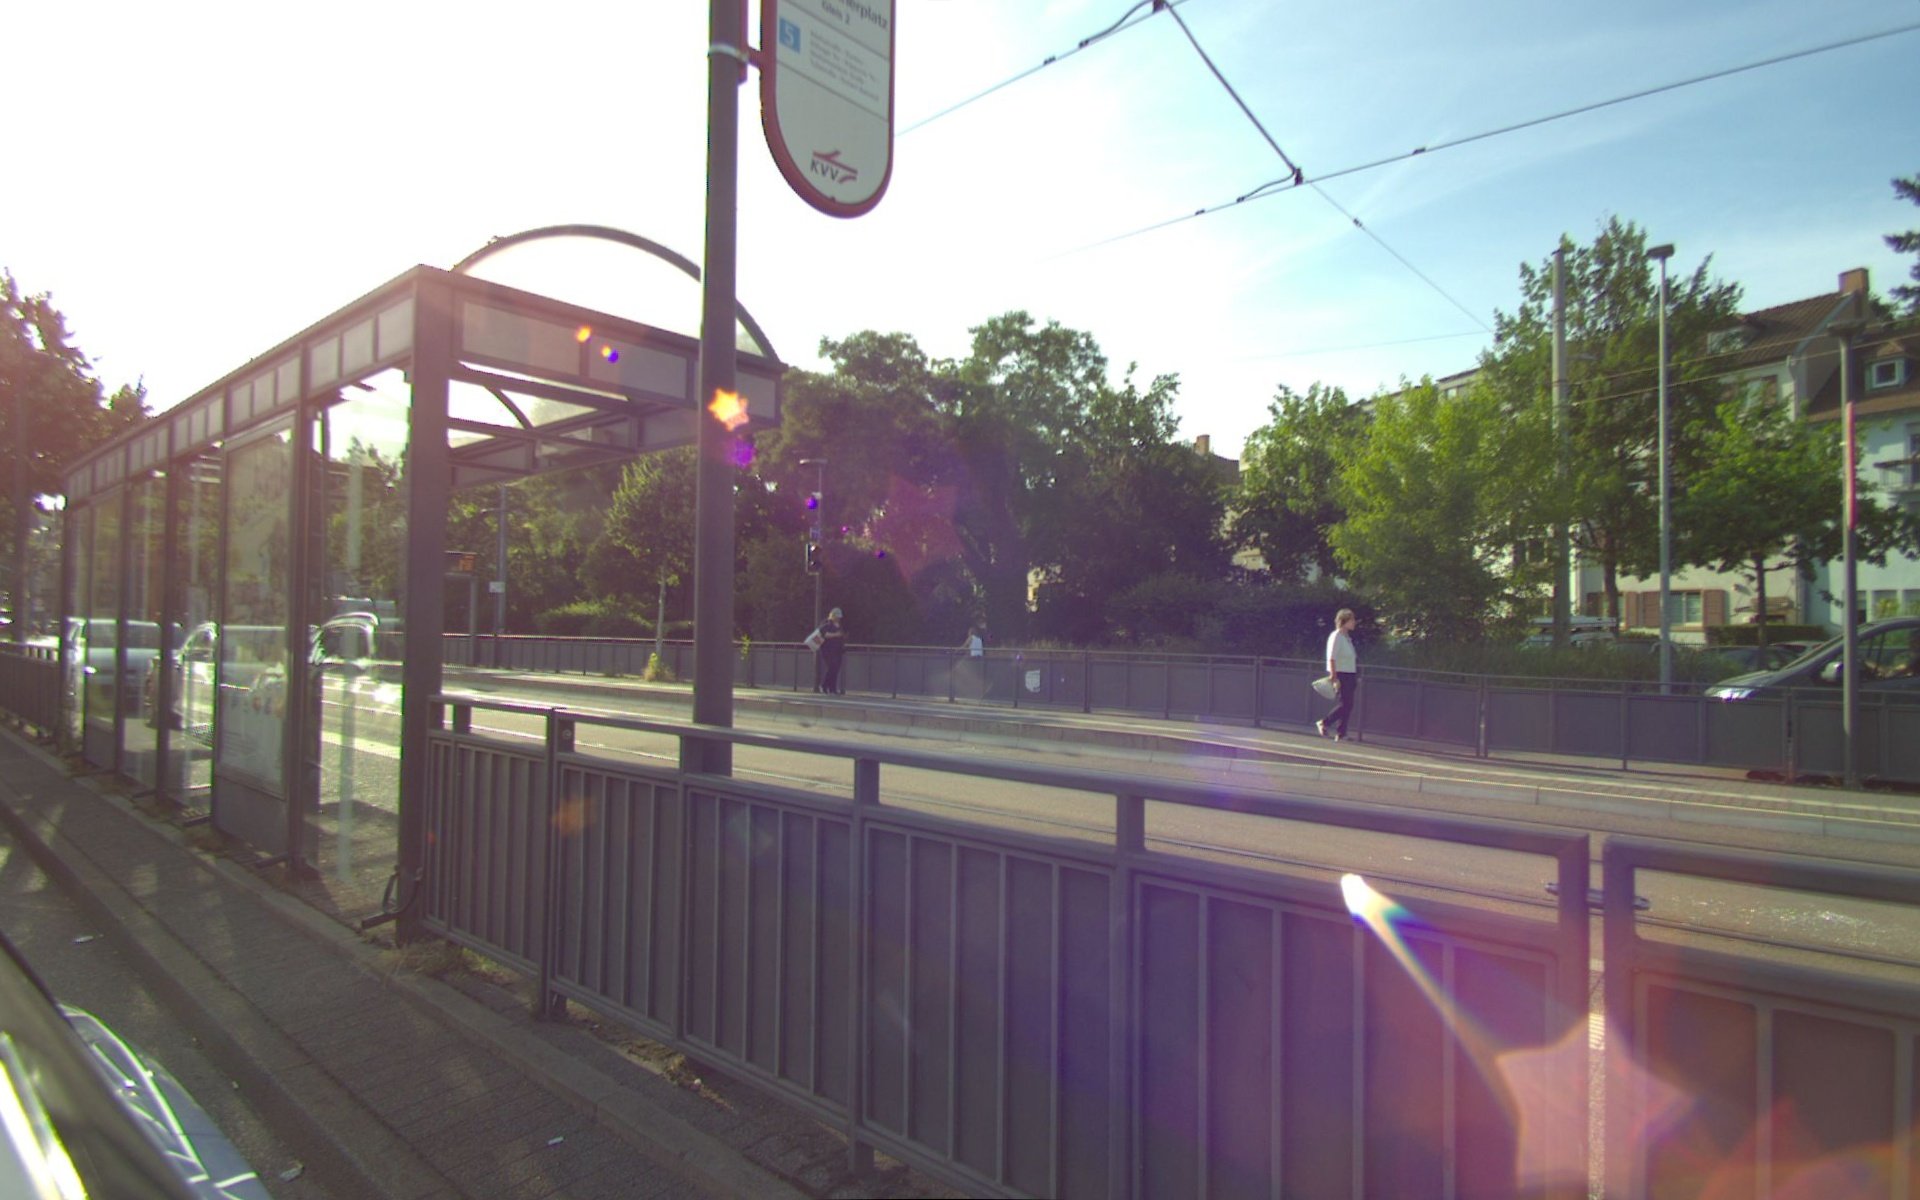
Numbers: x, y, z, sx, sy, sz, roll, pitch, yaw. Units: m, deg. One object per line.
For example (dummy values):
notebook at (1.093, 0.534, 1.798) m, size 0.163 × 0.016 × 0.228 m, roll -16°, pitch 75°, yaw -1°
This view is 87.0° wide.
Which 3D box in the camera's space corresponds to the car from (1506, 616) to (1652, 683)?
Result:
car at (17.561, 1.397, 28.694) m, size 3.931 × 1.767 × 1.860 m, roll 2°, pitch -2°, yaw -30°

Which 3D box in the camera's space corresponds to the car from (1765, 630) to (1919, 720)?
car at (19.307, 1.546, 21.721) m, size 3.931 × 1.767 × 1.860 m, roll 2°, pitch -2°, yaw -30°

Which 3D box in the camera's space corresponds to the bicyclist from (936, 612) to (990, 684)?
bicyclist at (0.073, 1.123, 24.040) m, size 1.072 × 1.636 × 0.697 m, roll -2°, pitch 0°, yaw 43°

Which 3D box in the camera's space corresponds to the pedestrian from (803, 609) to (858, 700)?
pedestrian at (-2.395, 0.998, 18.763) m, size 0.689 × 1.640 × 0.727 m, roll -1°, pitch -3°, yaw 41°

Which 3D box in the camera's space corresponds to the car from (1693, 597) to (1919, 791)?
car at (11.338, 1.010, 10.906) m, size 5.385 × 2.029 × 2.123 m, roll -1°, pitch -3°, yaw 42°

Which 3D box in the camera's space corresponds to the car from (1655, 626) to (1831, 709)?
car at (18.098, 1.524, 23.375) m, size 3.931 × 1.767 × 1.860 m, roll 2°, pitch -2°, yaw -30°

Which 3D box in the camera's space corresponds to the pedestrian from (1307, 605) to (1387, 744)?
pedestrian at (4.757, 0.896, 12.436) m, size 0.727 × 1.640 × 0.699 m, roll -1°, pitch -3°, yaw 41°

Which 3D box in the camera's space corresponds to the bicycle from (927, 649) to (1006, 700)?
bicycle at (0.141, 1.741, 24.005) m, size 1.864 × 1.118 × 0.718 m, roll -2°, pitch 0°, yaw 42°
